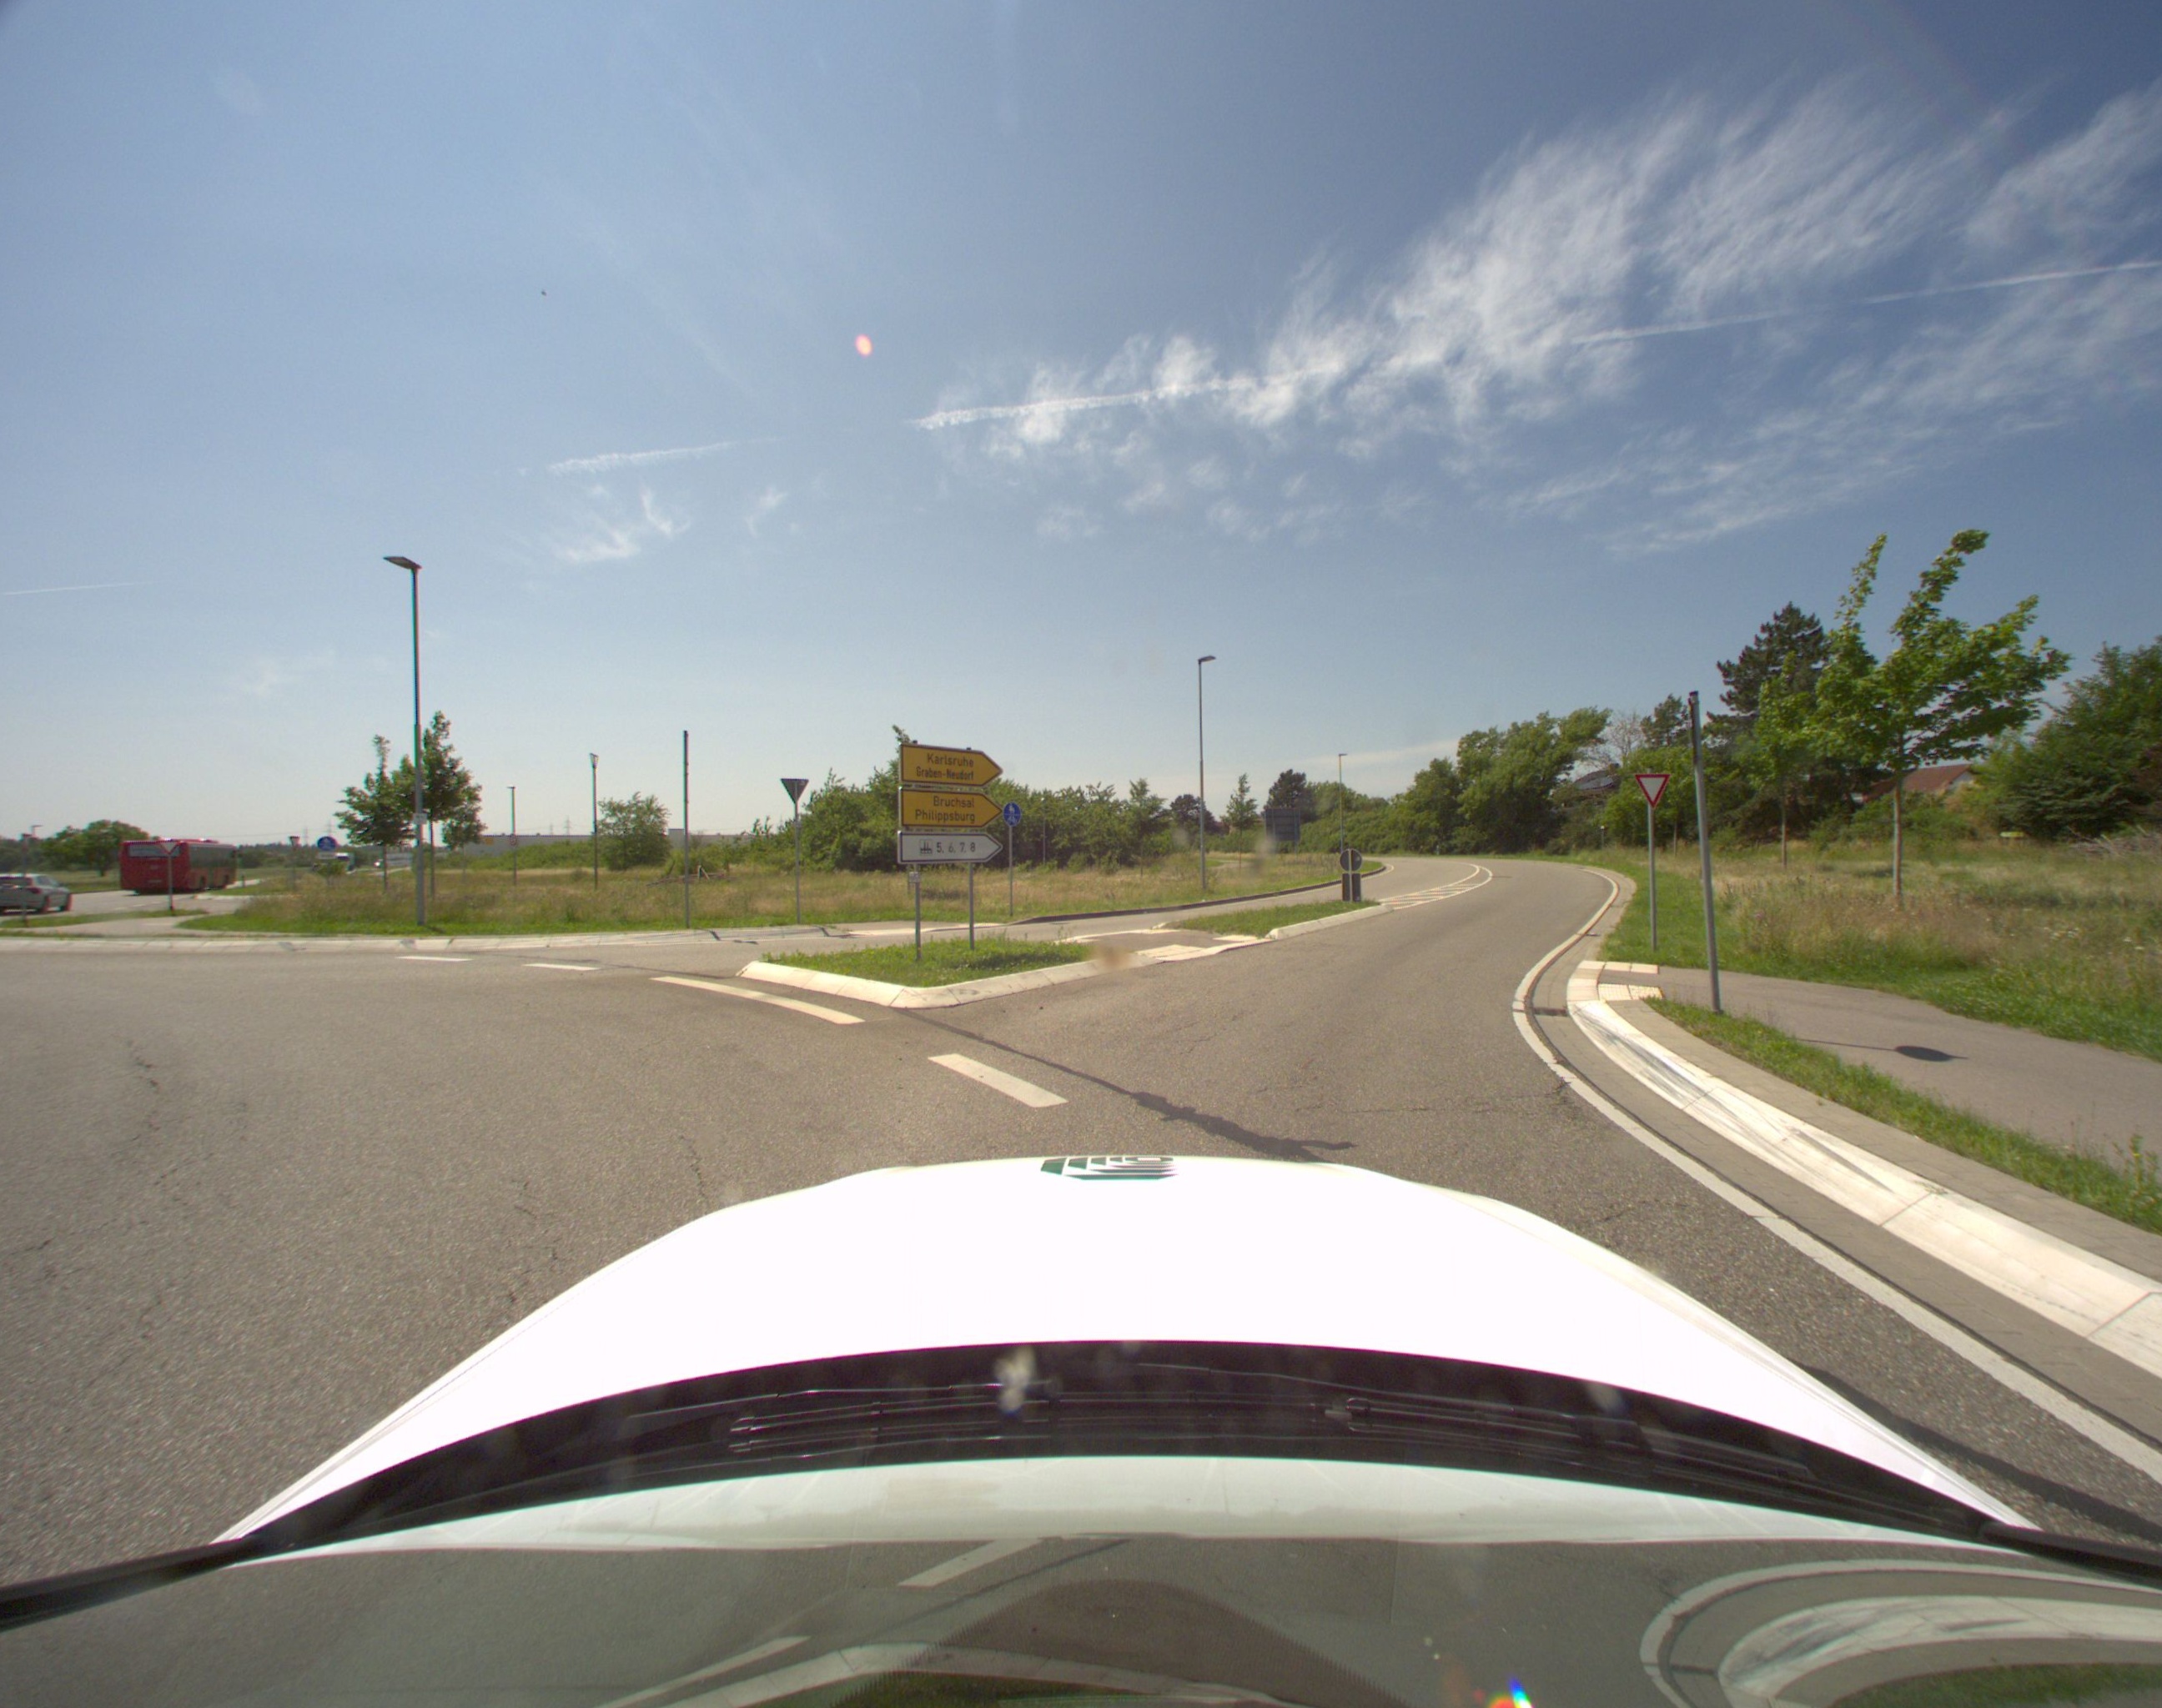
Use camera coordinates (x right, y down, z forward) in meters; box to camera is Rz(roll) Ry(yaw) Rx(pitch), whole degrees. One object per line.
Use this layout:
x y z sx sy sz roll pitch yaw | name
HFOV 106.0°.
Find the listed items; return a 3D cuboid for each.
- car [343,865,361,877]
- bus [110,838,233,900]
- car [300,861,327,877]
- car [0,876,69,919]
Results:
-113.739 2.669 127.072 2.010 1.846 4.123 -1 0 -40 | car
-54.414 0.853 49.114 3.331 3.309 11.849 -1 0 -40 | bus
-94.659 1.845 100.435 2.009 1.925 3.955 -1 0 -37 | car
-38.693 1.558 29.684 1.739 1.464 3.558 -1 0 -43 | car
